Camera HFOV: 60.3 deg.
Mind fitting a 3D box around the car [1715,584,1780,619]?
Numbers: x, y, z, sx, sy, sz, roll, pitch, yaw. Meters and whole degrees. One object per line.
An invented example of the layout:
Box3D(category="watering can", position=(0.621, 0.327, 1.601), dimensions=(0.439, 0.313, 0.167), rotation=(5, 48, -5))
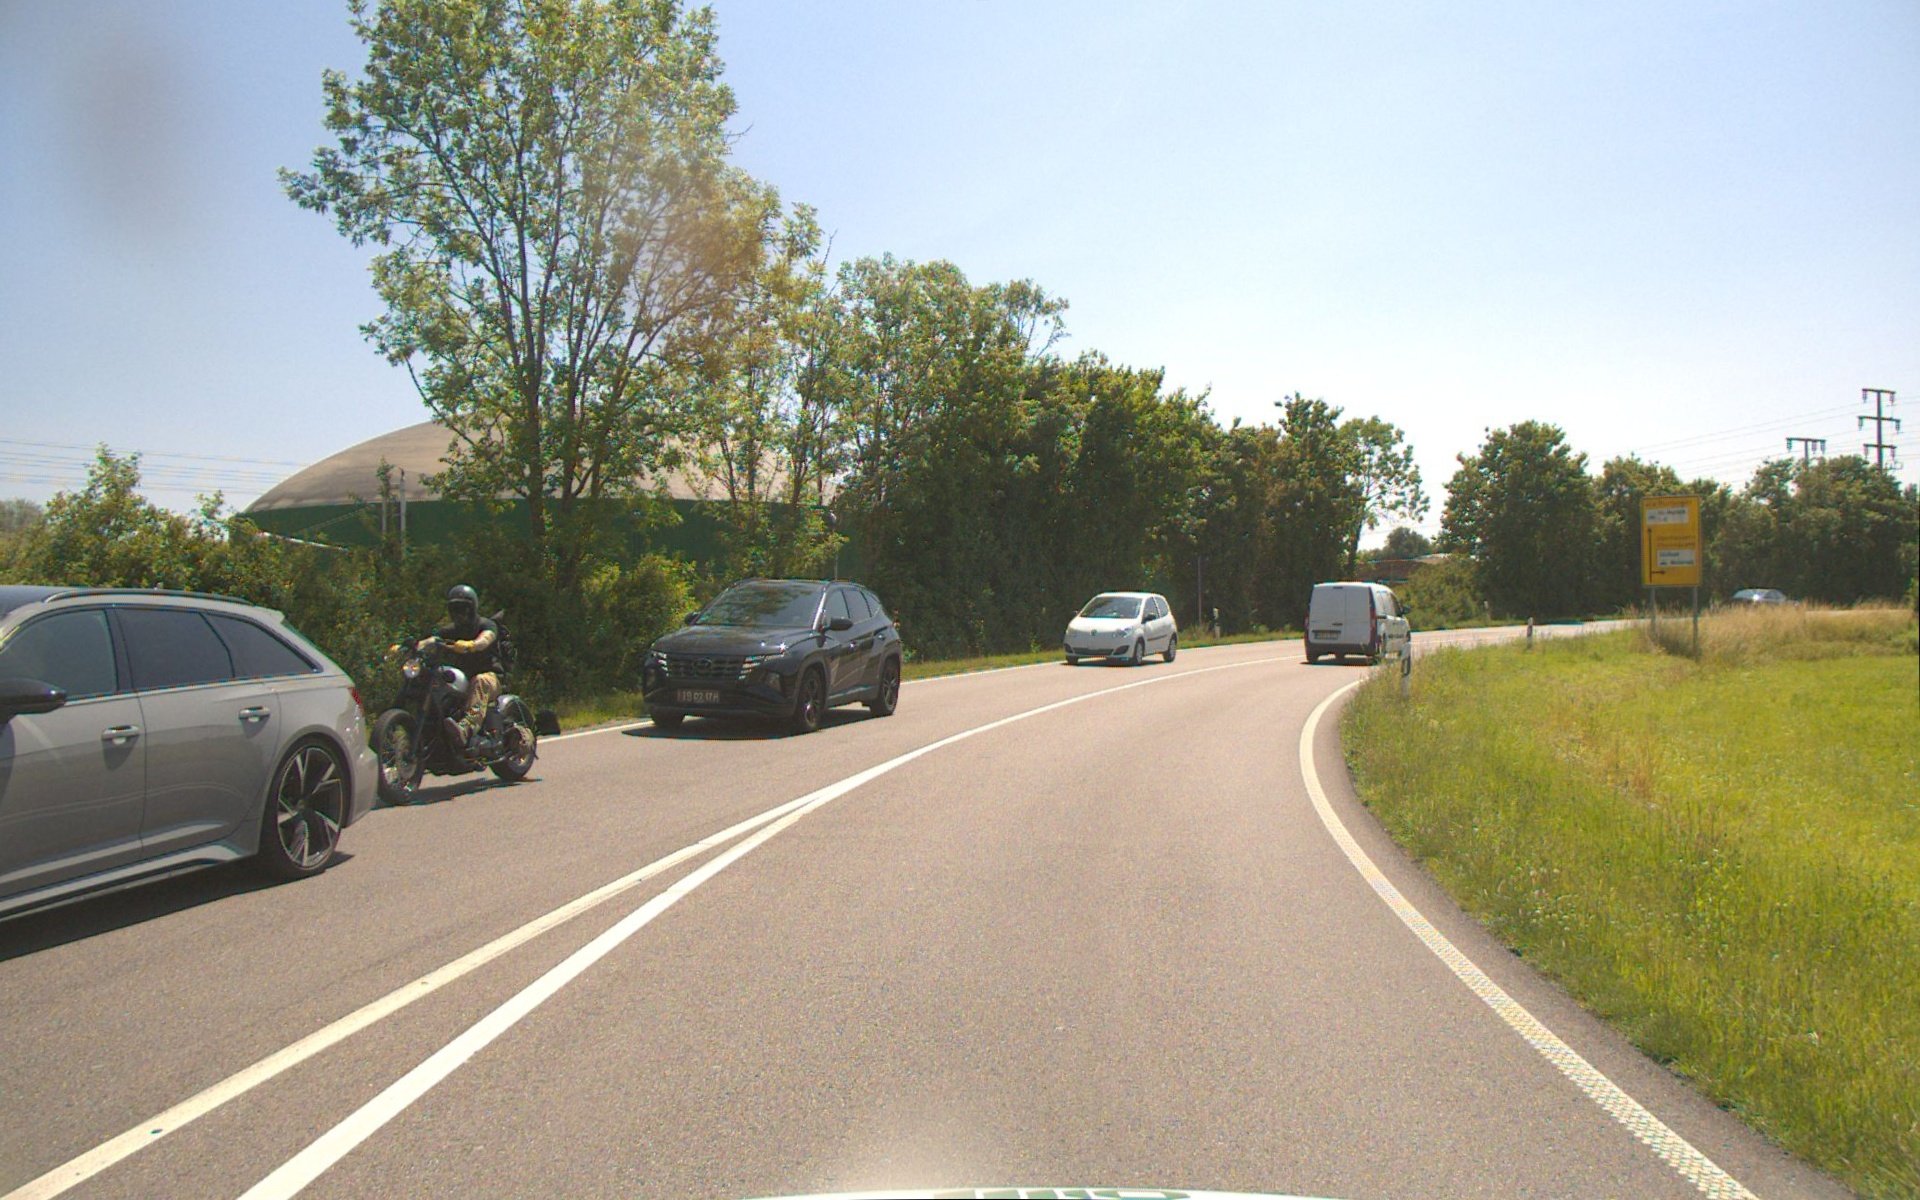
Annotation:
Box3D(category="car", position=(34.580, 0.077, 72.582), dimensions=(1.693, 1.445, 3.725), rotation=(-2, -1, 40))

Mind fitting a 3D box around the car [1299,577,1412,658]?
Box3D(category="car", position=(9.171, 0.409, 38.185), dimensions=(1.865, 1.763, 3.820), rotation=(-1, -1, 24))

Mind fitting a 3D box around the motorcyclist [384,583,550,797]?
Box3D(category="motorcyclist", position=(-3.682, 0.649, 12.431), dimensions=(0.764, 1.521, 1.131), rotation=(0, -1, 10))

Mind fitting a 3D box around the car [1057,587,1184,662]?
Box3D(category="car", position=(3.478, 0.520, 35.358), dimensions=(1.506, 1.468, 3.604), rotation=(2, 0, 26))

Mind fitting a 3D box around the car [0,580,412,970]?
Box3D(category="car", position=(-4.425, 0.673, 7.164), dimensions=(1.802, 1.486, 4.813), rotation=(0, 0, 10))

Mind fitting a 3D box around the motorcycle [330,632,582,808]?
Box3D(category="motorcycle", position=(-3.691, 0.830, 12.388), dimensions=(0.765, 1.143, 2.432), rotation=(1, 0, 10))

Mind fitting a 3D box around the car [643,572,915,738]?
Box3D(category="car", position=(-1.941, 0.550, 19.140), dimensions=(1.666, 1.666, 4.252), rotation=(1, 0, 15))
